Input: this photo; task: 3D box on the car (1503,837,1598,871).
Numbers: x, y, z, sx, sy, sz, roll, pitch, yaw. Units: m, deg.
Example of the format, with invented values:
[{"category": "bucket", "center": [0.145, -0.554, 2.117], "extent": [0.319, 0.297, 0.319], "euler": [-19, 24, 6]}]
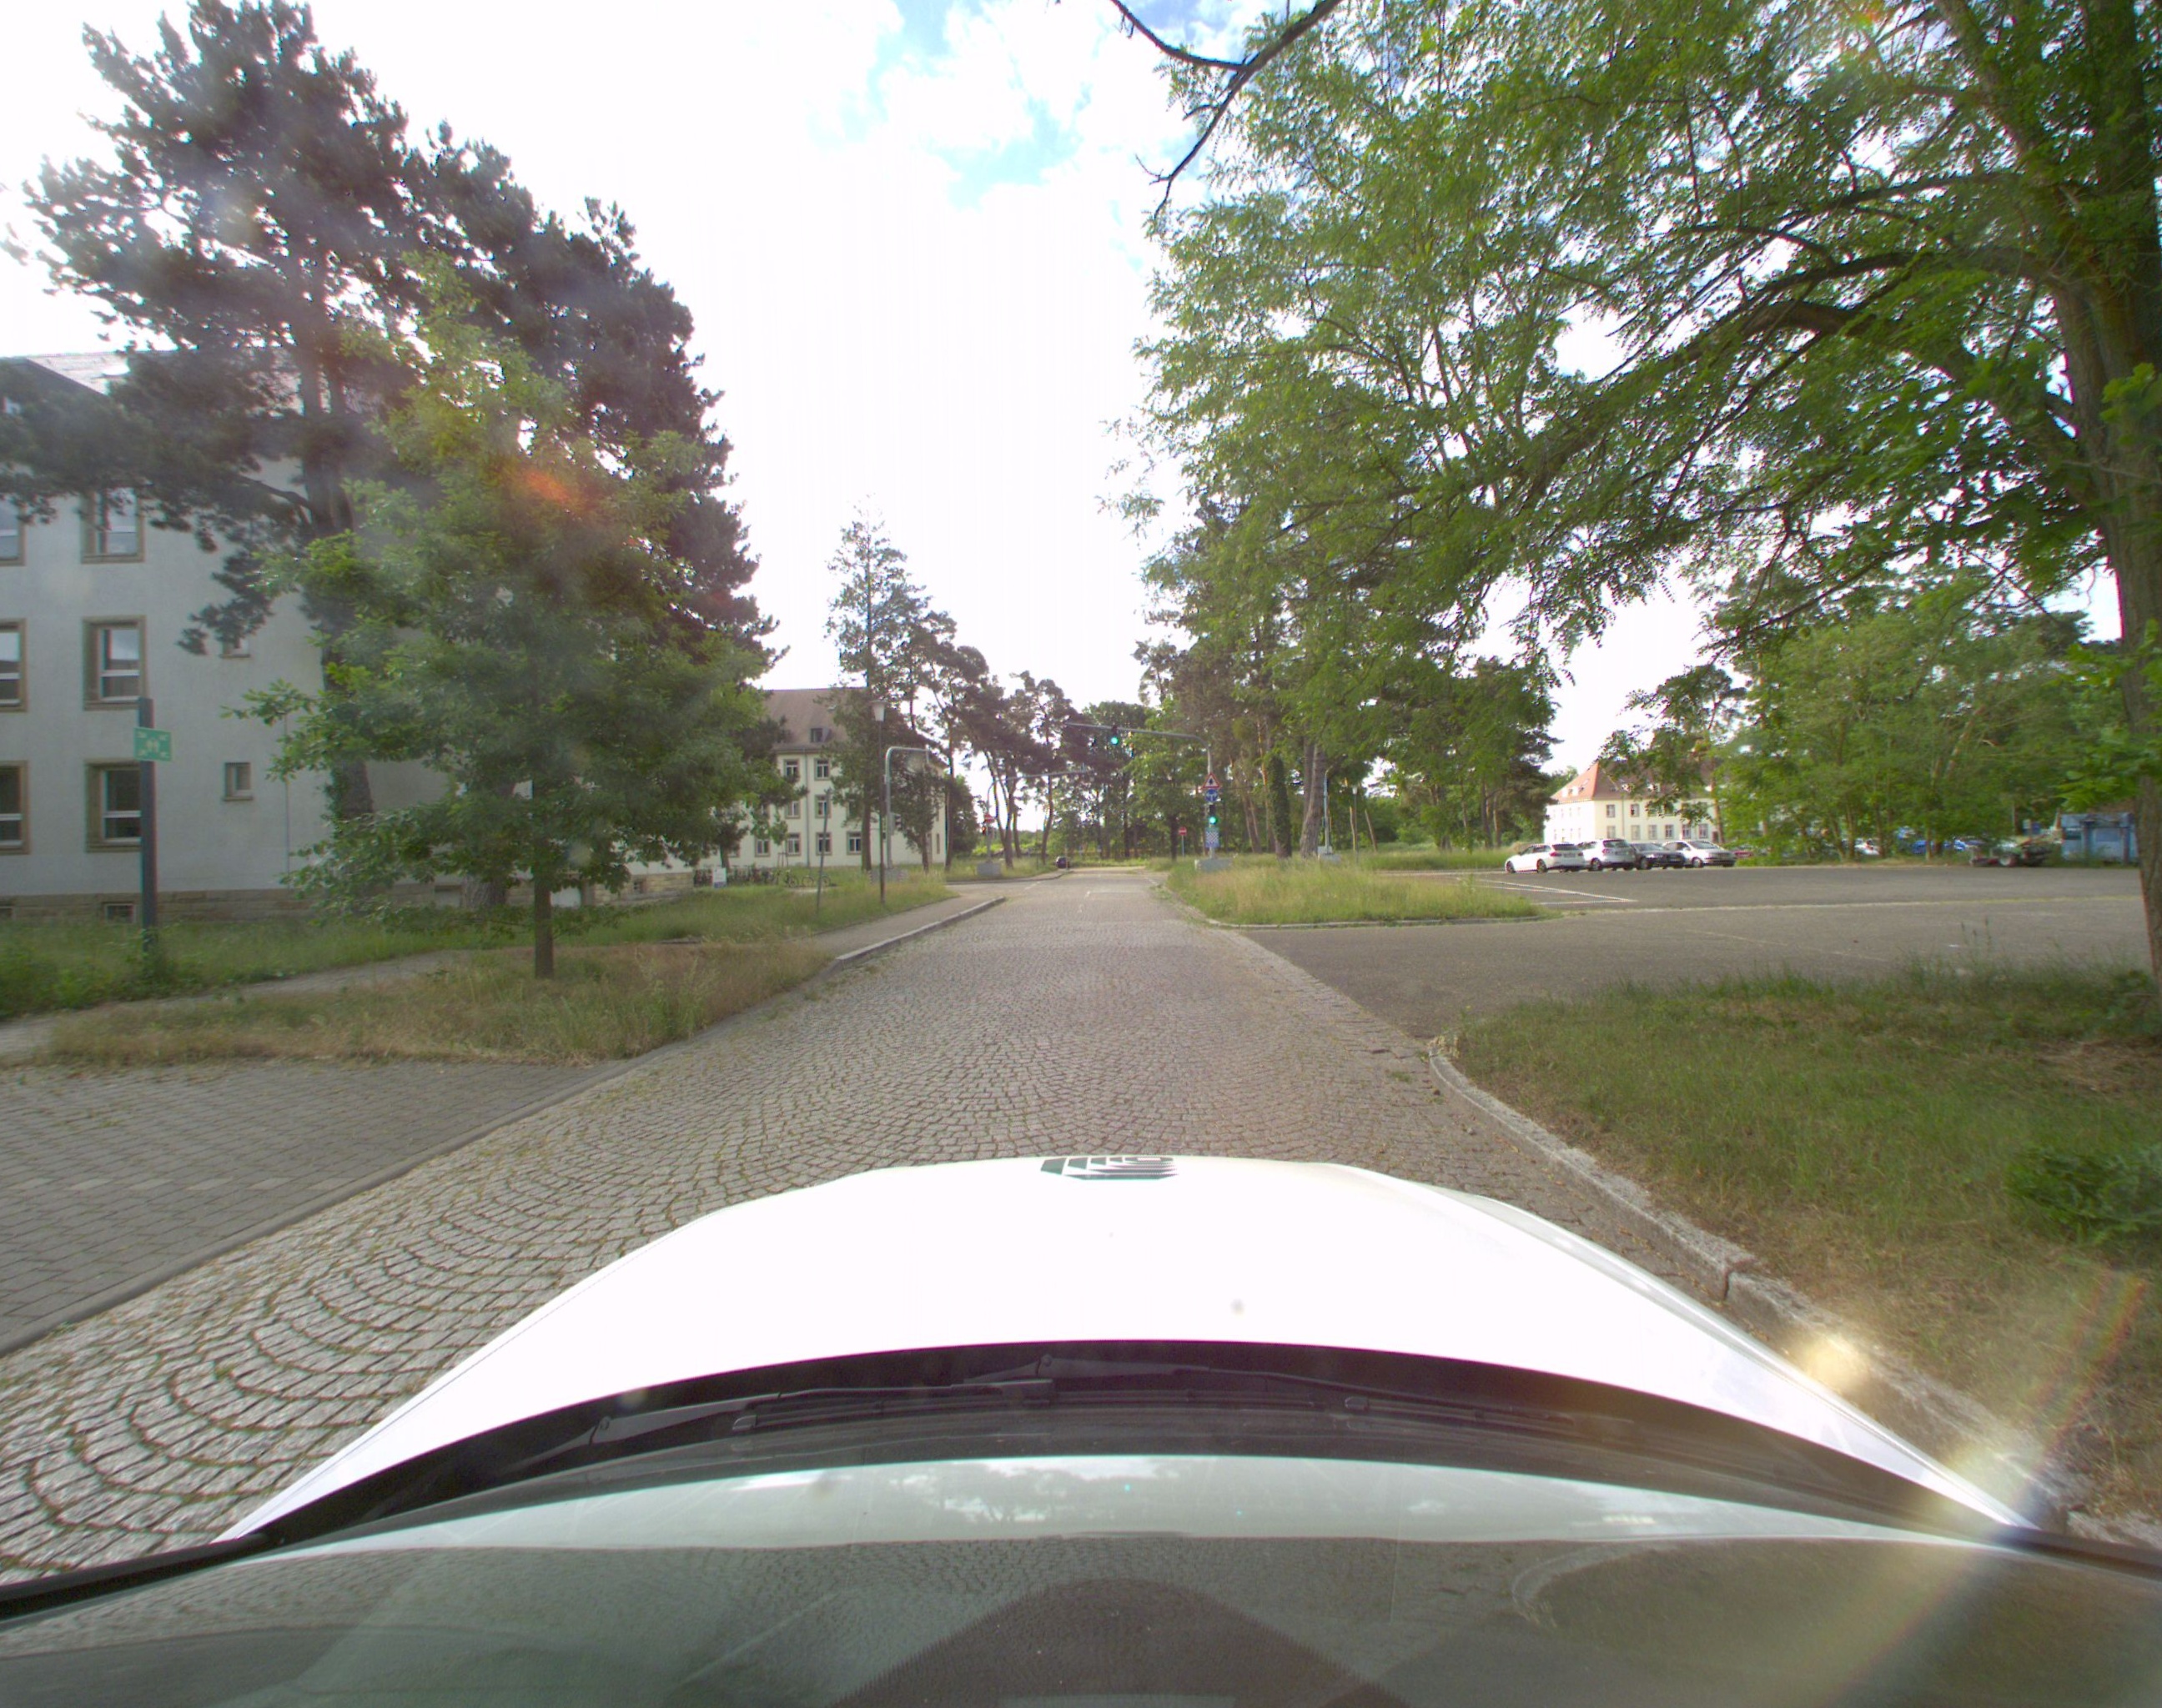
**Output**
[{"category": "car", "center": [22.786, 0.049, 39.736], "extent": [1.988, 1.481, 4.421], "euler": [-2, -1, -2]}]

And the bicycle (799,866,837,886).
[{"category": "bicycle", "center": [-15.110, 1.253, 46.763], "extent": [1.848, 1.076, 0.832], "euler": [-2, 0, 3]}]

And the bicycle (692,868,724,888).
[{"category": "bicycle", "center": [-21.993, 1.398, 48.089], "extent": [0.733, 1.076, 2.274], "euler": [-2, 0, 2]}]

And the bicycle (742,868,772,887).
[{"category": "bicycle", "center": [-19.078, 1.371, 47.982], "extent": [0.733, 1.076, 2.274], "euler": [-2, 0, 2]}]

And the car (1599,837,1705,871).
[{"category": "car", "center": [27.971, 0.047, 40.096], "extent": [1.988, 1.481, 4.421], "euler": [-2, -1, -2]}]

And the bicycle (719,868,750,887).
[{"category": "bicycle", "center": [-20.604, 1.393, 48.481], "extent": [0.733, 1.076, 2.274], "euler": [-2, 0, 2]}]

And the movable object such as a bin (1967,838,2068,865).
[{"category": "movable object such as a bin", "center": [31.203, -0.076, 27.190], "extent": [1.179, 0.825, 1.957], "euler": [-2, 0, 6]}]

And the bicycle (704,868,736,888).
[{"category": "bicycle", "center": [-21.265, 1.382, 48.001], "extent": [0.733, 1.076, 2.274], "euler": [-2, 0, 2]}]

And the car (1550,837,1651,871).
[{"category": "car", "center": [25.301, 0.048, 39.861], "extent": [1.988, 1.481, 4.421], "euler": [-2, -1, -2]}]

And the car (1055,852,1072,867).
[{"category": "car", "center": [-2.209, 0.704, 103.853], "extent": [2.048, 1.846, 4.001], "euler": [-2, 0, 1]}]

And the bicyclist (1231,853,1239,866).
[{"category": "bicyclist", "center": [19.203, 0.700, 101.532], "extent": [0.749, 1.671, 0.524], "euler": [0, -1, -12]}]

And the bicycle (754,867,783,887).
[{"category": "bicycle", "center": [-18.435, 1.349, 48.048], "extent": [0.733, 1.076, 2.274], "euler": [-2, 0, 2]}]

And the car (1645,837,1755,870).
[{"category": "car", "center": [30.647, 0.028, 40.515], "extent": [1.988, 1.523, 4.421], "euler": [0, -2, -2]}]

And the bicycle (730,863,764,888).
[{"category": "bicycle", "center": [-19.812, 1.242, 48.354], "extent": [0.733, 1.385, 2.712], "euler": [-2, 0, 2]}]

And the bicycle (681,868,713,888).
[{"category": "bicycle", "center": [-22.699, 1.406, 48.182], "extent": [0.733, 1.076, 2.274], "euler": [-2, 0, 2]}]

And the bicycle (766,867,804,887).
[{"category": "bicycle", "center": [-16.993, 1.301, 46.765], "extent": [1.848, 1.076, 0.739], "euler": [-2, 0, 3]}]
